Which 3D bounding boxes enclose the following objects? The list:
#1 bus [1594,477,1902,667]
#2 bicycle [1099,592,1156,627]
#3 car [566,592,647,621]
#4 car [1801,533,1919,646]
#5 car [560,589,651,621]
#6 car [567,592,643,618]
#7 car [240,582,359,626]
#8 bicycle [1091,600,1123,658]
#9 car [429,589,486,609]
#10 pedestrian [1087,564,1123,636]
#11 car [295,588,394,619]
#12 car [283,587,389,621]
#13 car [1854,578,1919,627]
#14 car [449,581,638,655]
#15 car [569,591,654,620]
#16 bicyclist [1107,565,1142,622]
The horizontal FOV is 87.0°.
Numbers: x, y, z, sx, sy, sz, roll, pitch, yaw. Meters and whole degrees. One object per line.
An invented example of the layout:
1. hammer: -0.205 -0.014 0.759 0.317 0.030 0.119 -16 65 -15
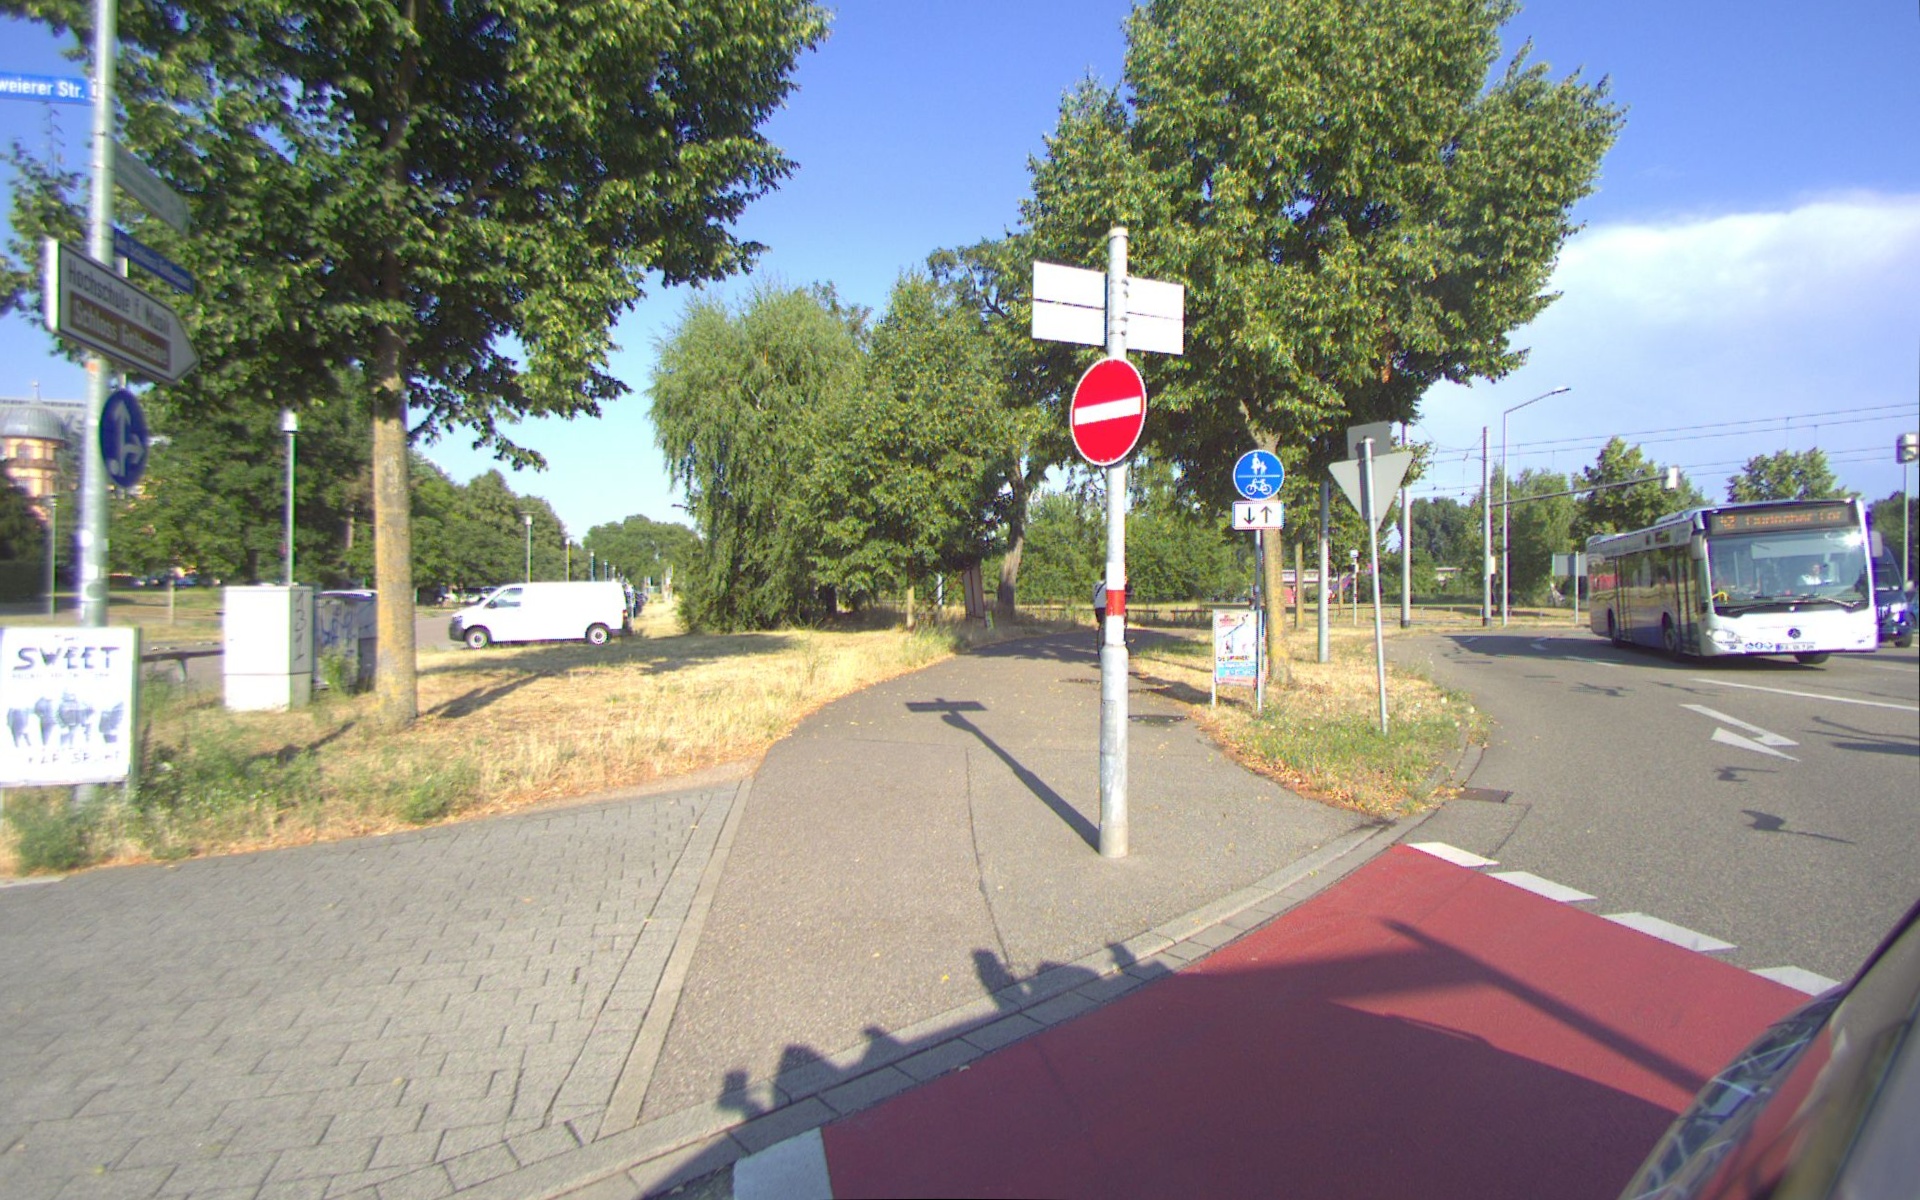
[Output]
1. bus: 16.605 -0.517 22.518 2.638 3.100 12.077 0 1 24
2. bicycle: 5.546 0.295 33.397 2.087 1.137 0.640 0 0 -39
3. car: -18.435 0.322 52.933 3.916 1.415 1.860 0 1 -16
4. car: 23.430 -0.194 26.311 1.988 2.627 5.414 -1 -2 36
5. car: -16.524 0.214 47.335 3.916 1.415 1.860 0 1 -16
6. car: -19.925 0.272 56.995 3.916 1.415 1.860 0 1 -16
7. car: -28.183 0.148 43.315 3.916 1.816 1.897 0 0 -18
8. bicycle: 2.910 0.544 20.159 0.525 1.068 1.910 0 1 6
9. car: -41.180 -0.089 83.072 3.916 1.549 2.004 0 1 -18
10. pedestrian: 2.887 -0.013 20.190 0.641 1.409 0.766 1 1 6
11. car: -31.098 0.154 51.225 3.916 1.549 2.004 0 1 -18
12. car: -29.614 0.171 48.131 3.916 1.549 2.004 0 1 -18
13. car: 34.042 0.069 36.114 3.918 1.683 1.874 0 1 -26
14. car: -12.538 0.486 30.910 5.109 2.039 2.274 -1 1 -16
15. car: -17.311 0.261 50.402 3.916 1.415 1.860 0 1 -16
16. bicyclist: 5.408 -0.219 33.312 0.921 1.823 0.727 0 0 -39
